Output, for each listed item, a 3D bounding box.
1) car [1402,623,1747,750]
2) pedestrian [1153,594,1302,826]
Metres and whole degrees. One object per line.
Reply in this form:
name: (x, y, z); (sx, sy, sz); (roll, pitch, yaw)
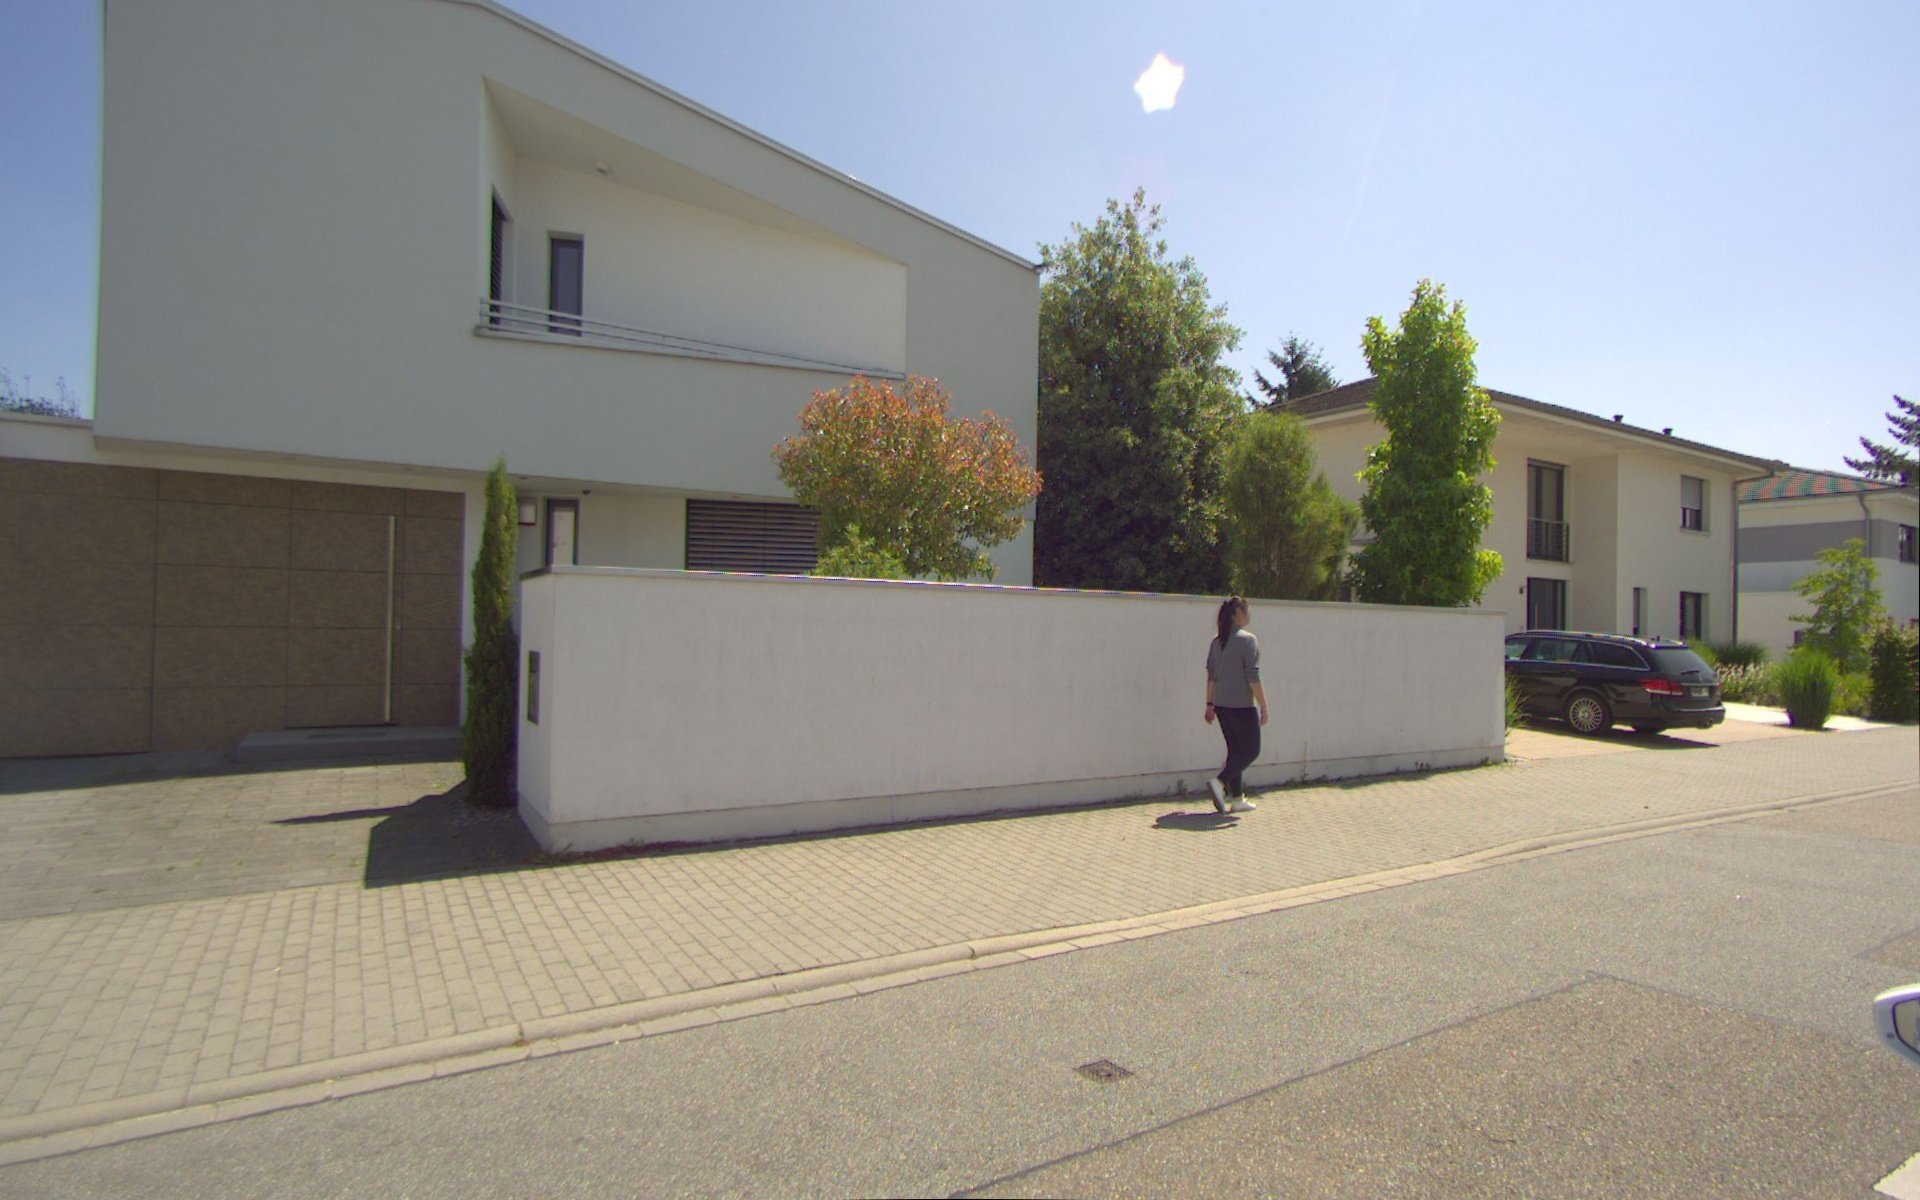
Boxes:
car: (9.648, 1.264, 16.205); (1.827, 1.493, 4.412); (2, 1, -27)
pedestrian: (2.186, 0.862, 8.235); (0.950, 1.770, 0.711); (2, -2, -31)
